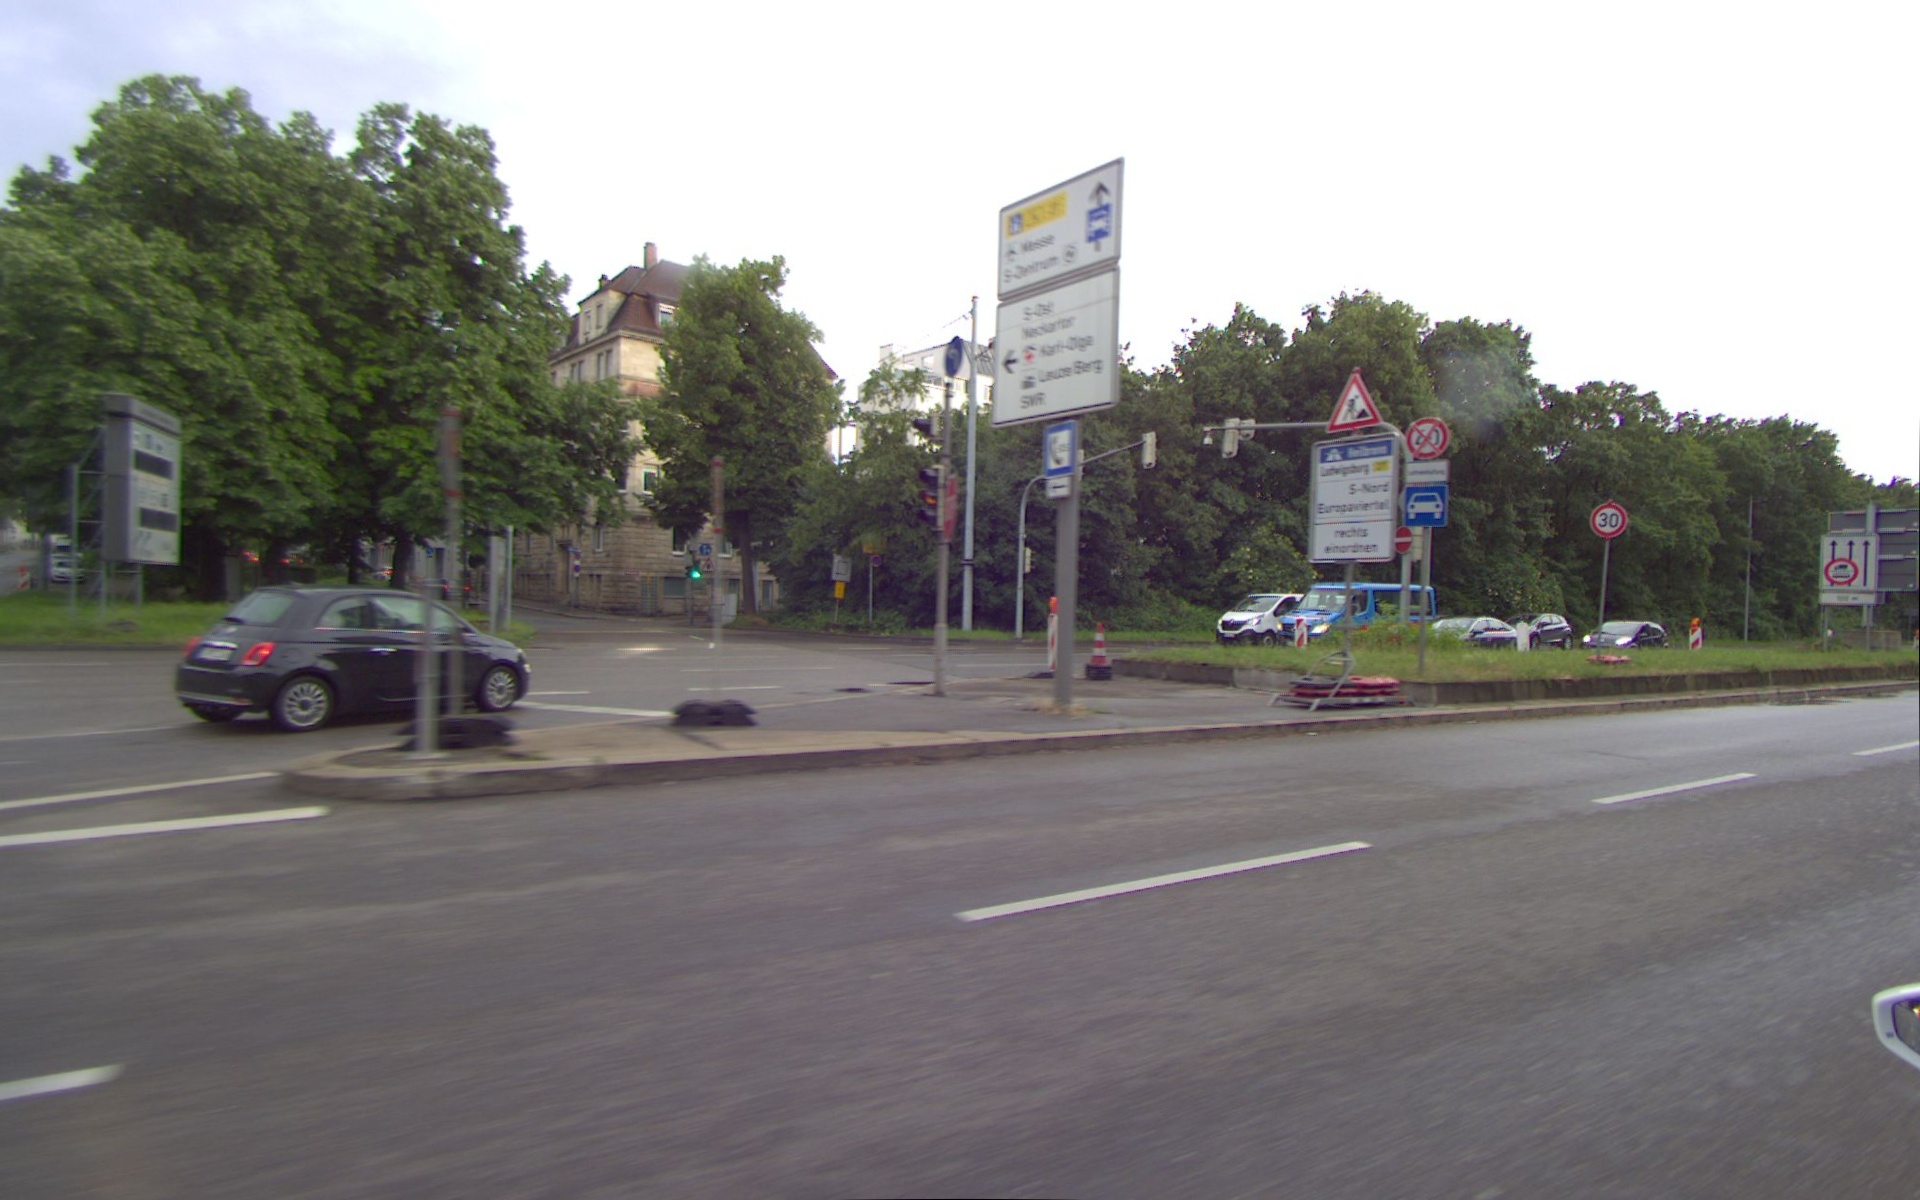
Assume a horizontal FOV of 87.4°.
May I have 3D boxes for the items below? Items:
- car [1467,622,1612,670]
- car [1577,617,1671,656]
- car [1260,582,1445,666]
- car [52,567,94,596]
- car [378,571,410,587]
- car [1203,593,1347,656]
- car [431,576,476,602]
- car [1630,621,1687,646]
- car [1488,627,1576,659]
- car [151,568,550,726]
[{"bbox_3d":[16.517,1.295,28.570,4.593,1.216,1.541,2,0,-31],"label":"car"},{"bbox_3d":[22.677,1.245,34.283,3.263,1.216,1.422,2,0,-32],"label":"car"},{"bbox_3d":[12.426,0.712,31.658,6.174,2.423,2.183,0,1,-32],"label":"car"},{"bbox_3d":[-57.064,-1.206,64.684,1.794,1.648,3.955,1,2,-38],"label":"car"},{"bbox_3d":[-45.685,-1.710,81.009,1.579,1.179,3.461,2,0,-41],"label":"car"},{"bbox_3d":[10.898,0.808,34.602,4.935,2.001,2.023,0,1,-32],"label":"car"},{"bbox_3d":[-33.837,-0.734,67.027,1.864,1.680,3.461,2,0,-41],"label":"car"},{"bbox_3d":[34.287,1.633,49.295,2.762,1.100,1.263,1,1,-32],"label":"car"},{"bbox_3d":[24.200,1.818,42.465,3.886,1.216,1.540,2,0,-32],"label":"car"},{"bbox_3d":[-6.586,0.477,11.248,1.562,1.460,3.500,1,-1,27],"label":"car"}]
